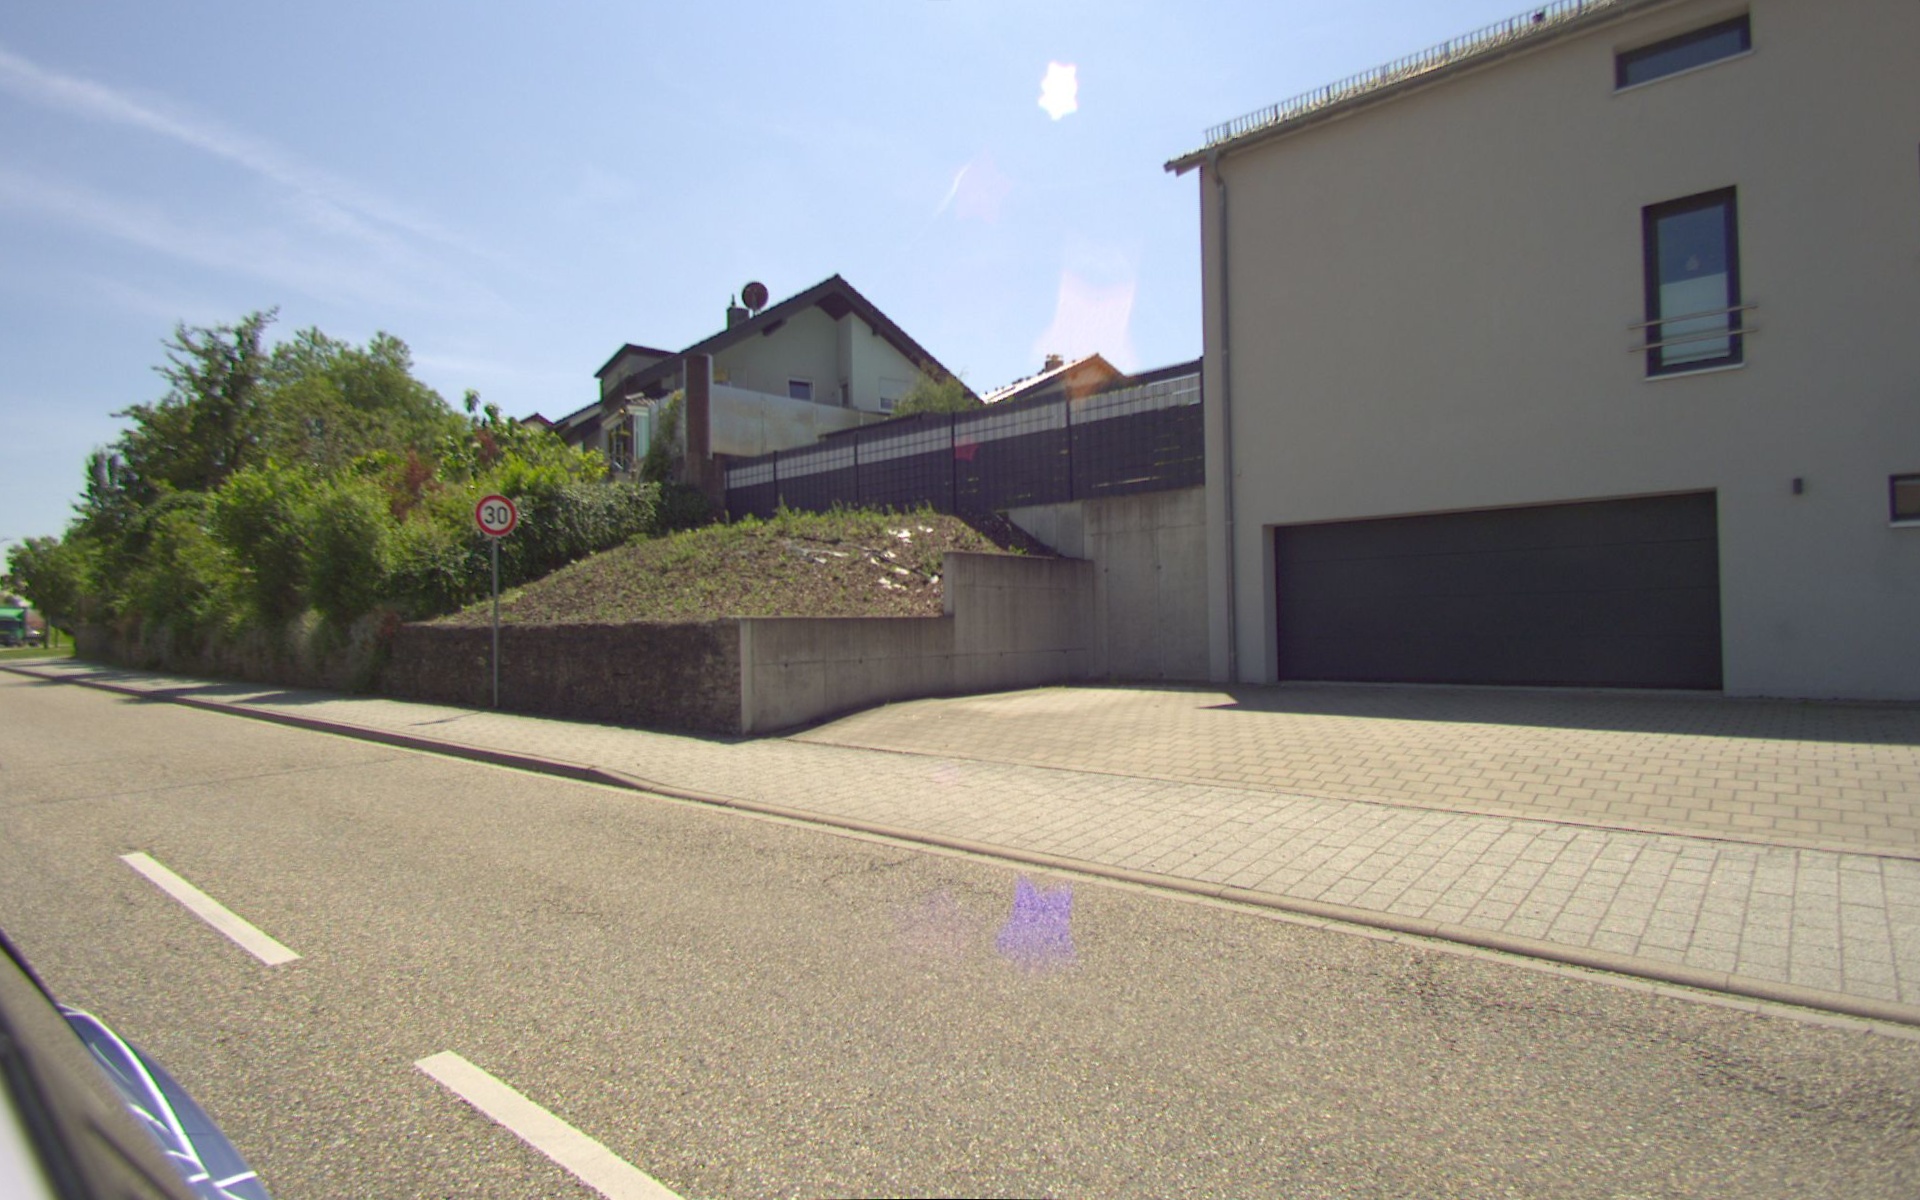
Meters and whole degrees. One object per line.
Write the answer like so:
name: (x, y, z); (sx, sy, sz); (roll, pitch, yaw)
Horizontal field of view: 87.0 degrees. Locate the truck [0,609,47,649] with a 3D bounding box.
truck: (-81.243, 2.527, 86.614); (2.806, 3.258, 8.188); (3, -4, -30)
